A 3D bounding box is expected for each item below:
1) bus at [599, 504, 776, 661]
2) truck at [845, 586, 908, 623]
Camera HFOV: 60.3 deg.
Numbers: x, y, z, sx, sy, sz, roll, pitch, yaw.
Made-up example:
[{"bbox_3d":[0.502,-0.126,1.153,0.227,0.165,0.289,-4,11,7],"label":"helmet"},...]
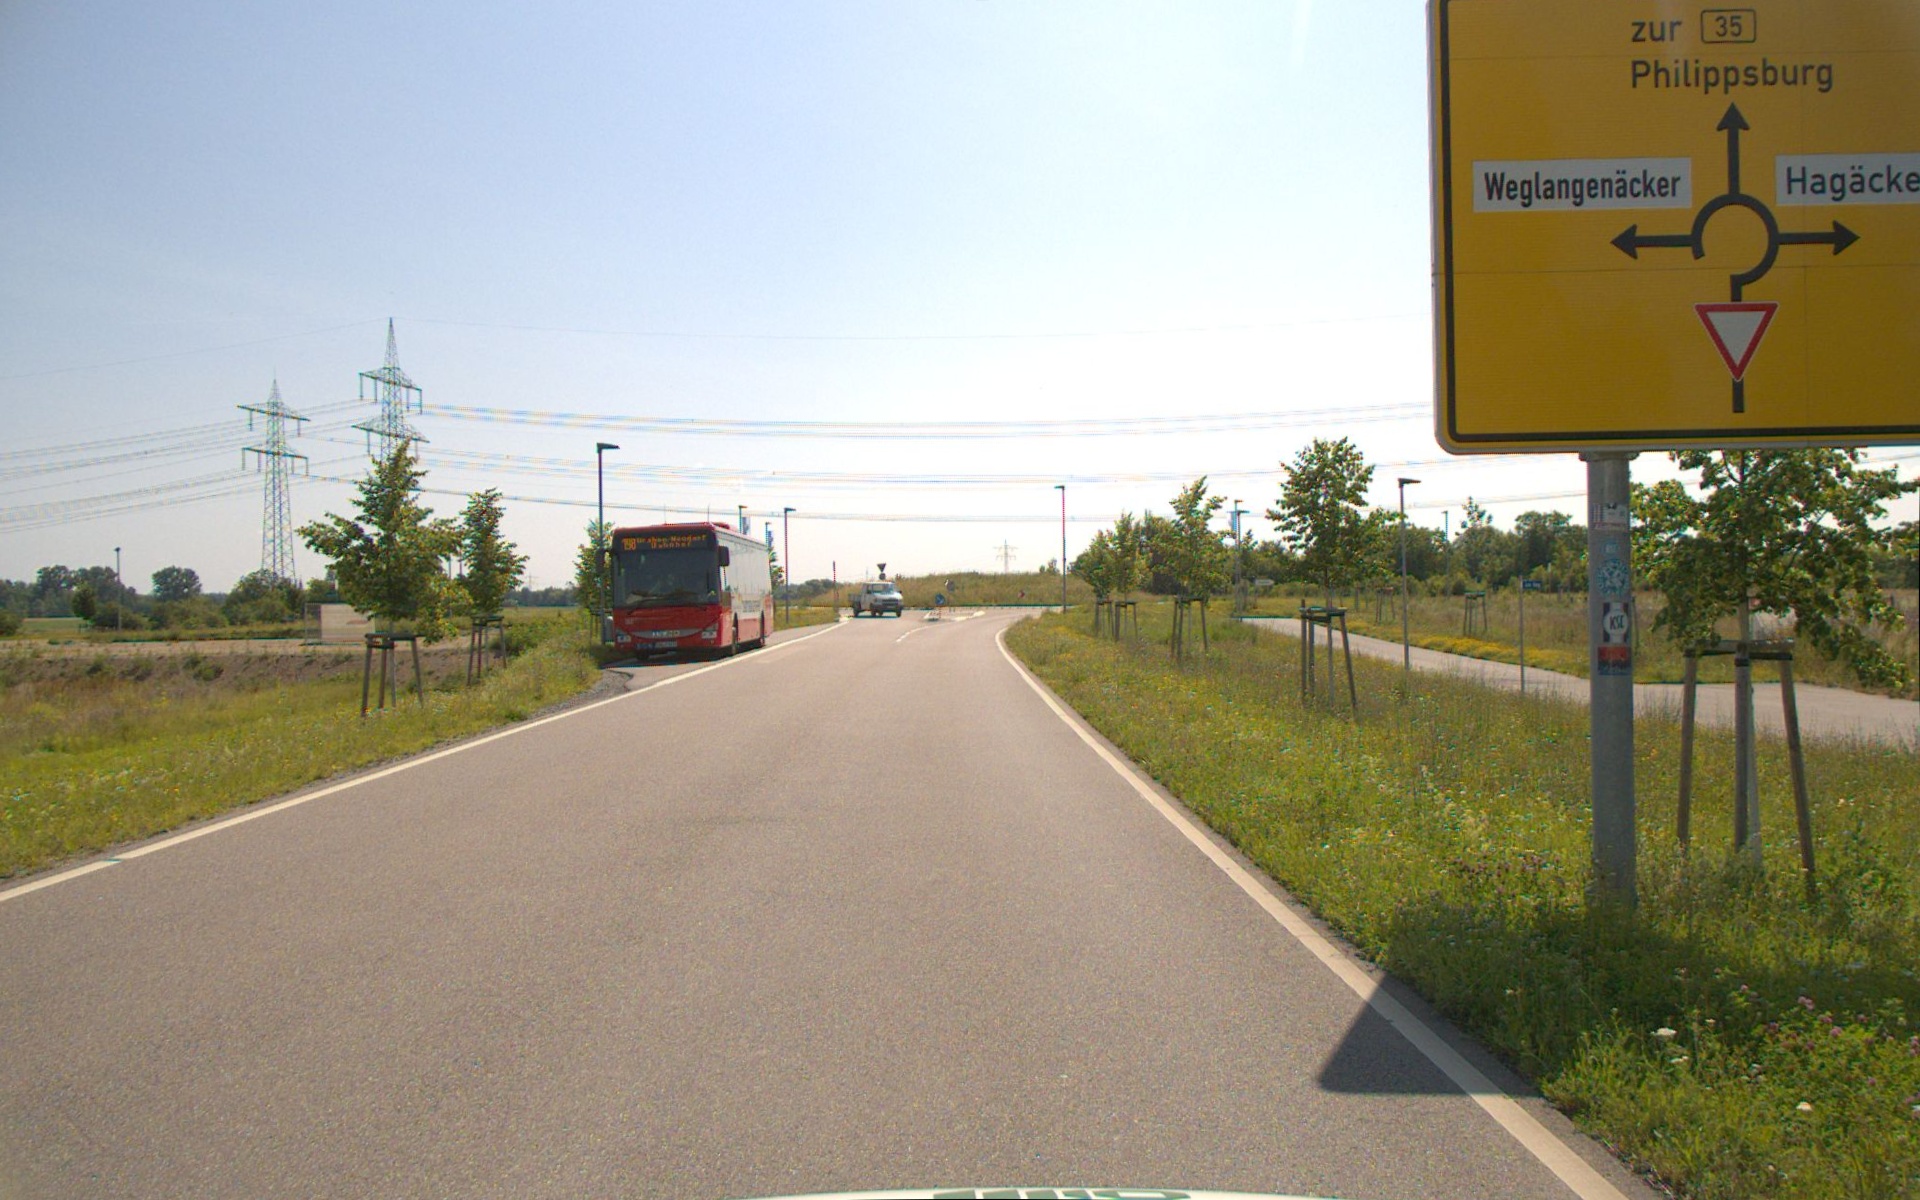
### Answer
[{"bbox_3d":[-6.676,-0.362,42.563,2.738,3.344,12.225,-2,0,-2],"label":"bus"},{"bbox_3d":[-4.895,0.246,96.030,1.924,2.019,5.606,1,0,-22],"label":"truck"}]
